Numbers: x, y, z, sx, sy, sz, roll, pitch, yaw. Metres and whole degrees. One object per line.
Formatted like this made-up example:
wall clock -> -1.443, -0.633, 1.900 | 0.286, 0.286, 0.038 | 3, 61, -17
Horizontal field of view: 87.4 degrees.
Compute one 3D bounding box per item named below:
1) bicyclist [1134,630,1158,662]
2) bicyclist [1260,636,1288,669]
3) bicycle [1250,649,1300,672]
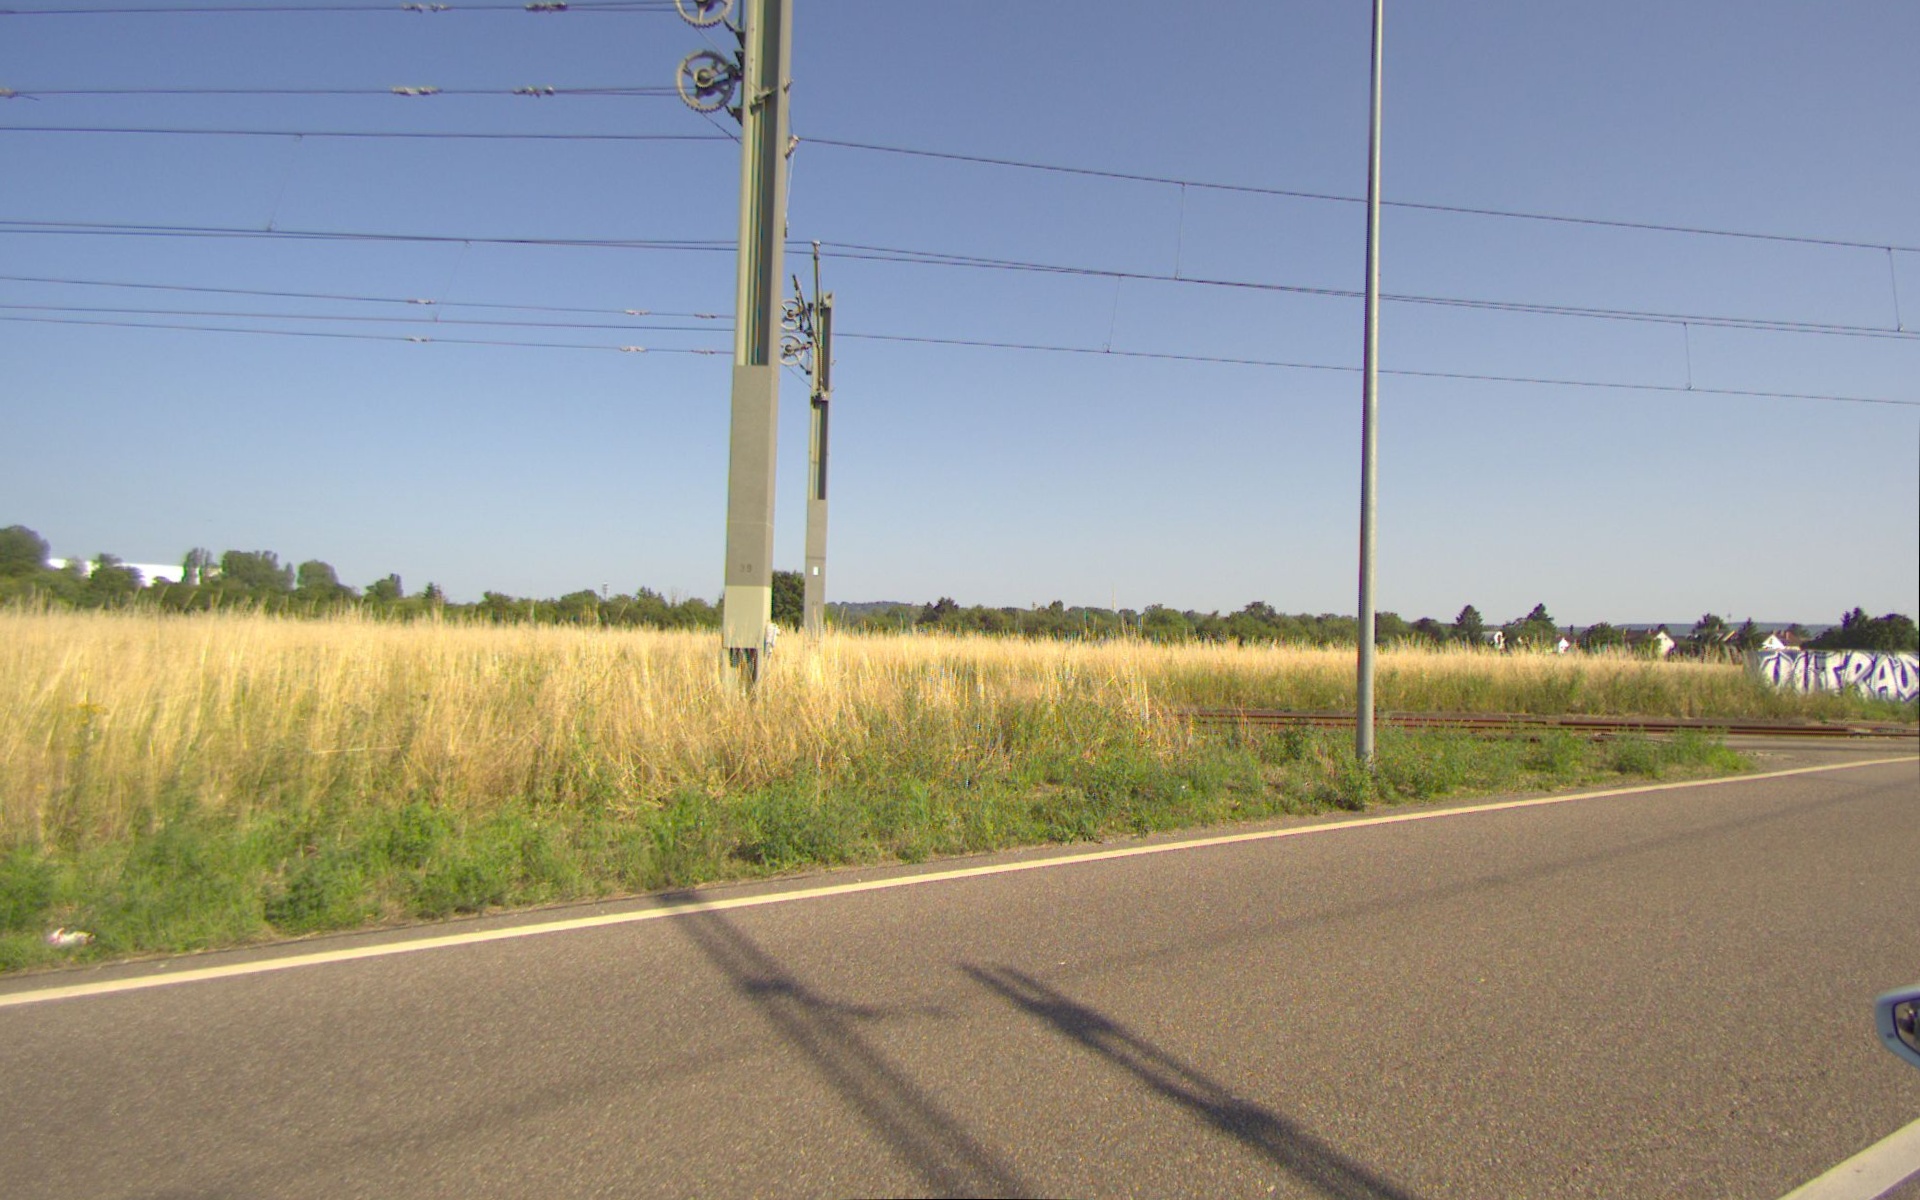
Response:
bicyclist -> 7.254, 1.796, 39.150 | 0.775, 1.221, 0.603 | 2, -1, -8
bicyclist -> 12.250, 2.039, 39.157 | 0.775, 1.221, 0.747 | 2, -1, -8
bicycle -> 12.276, 2.354, 39.162 | 1.704, 0.850, 0.751 | 2, -1, -8
